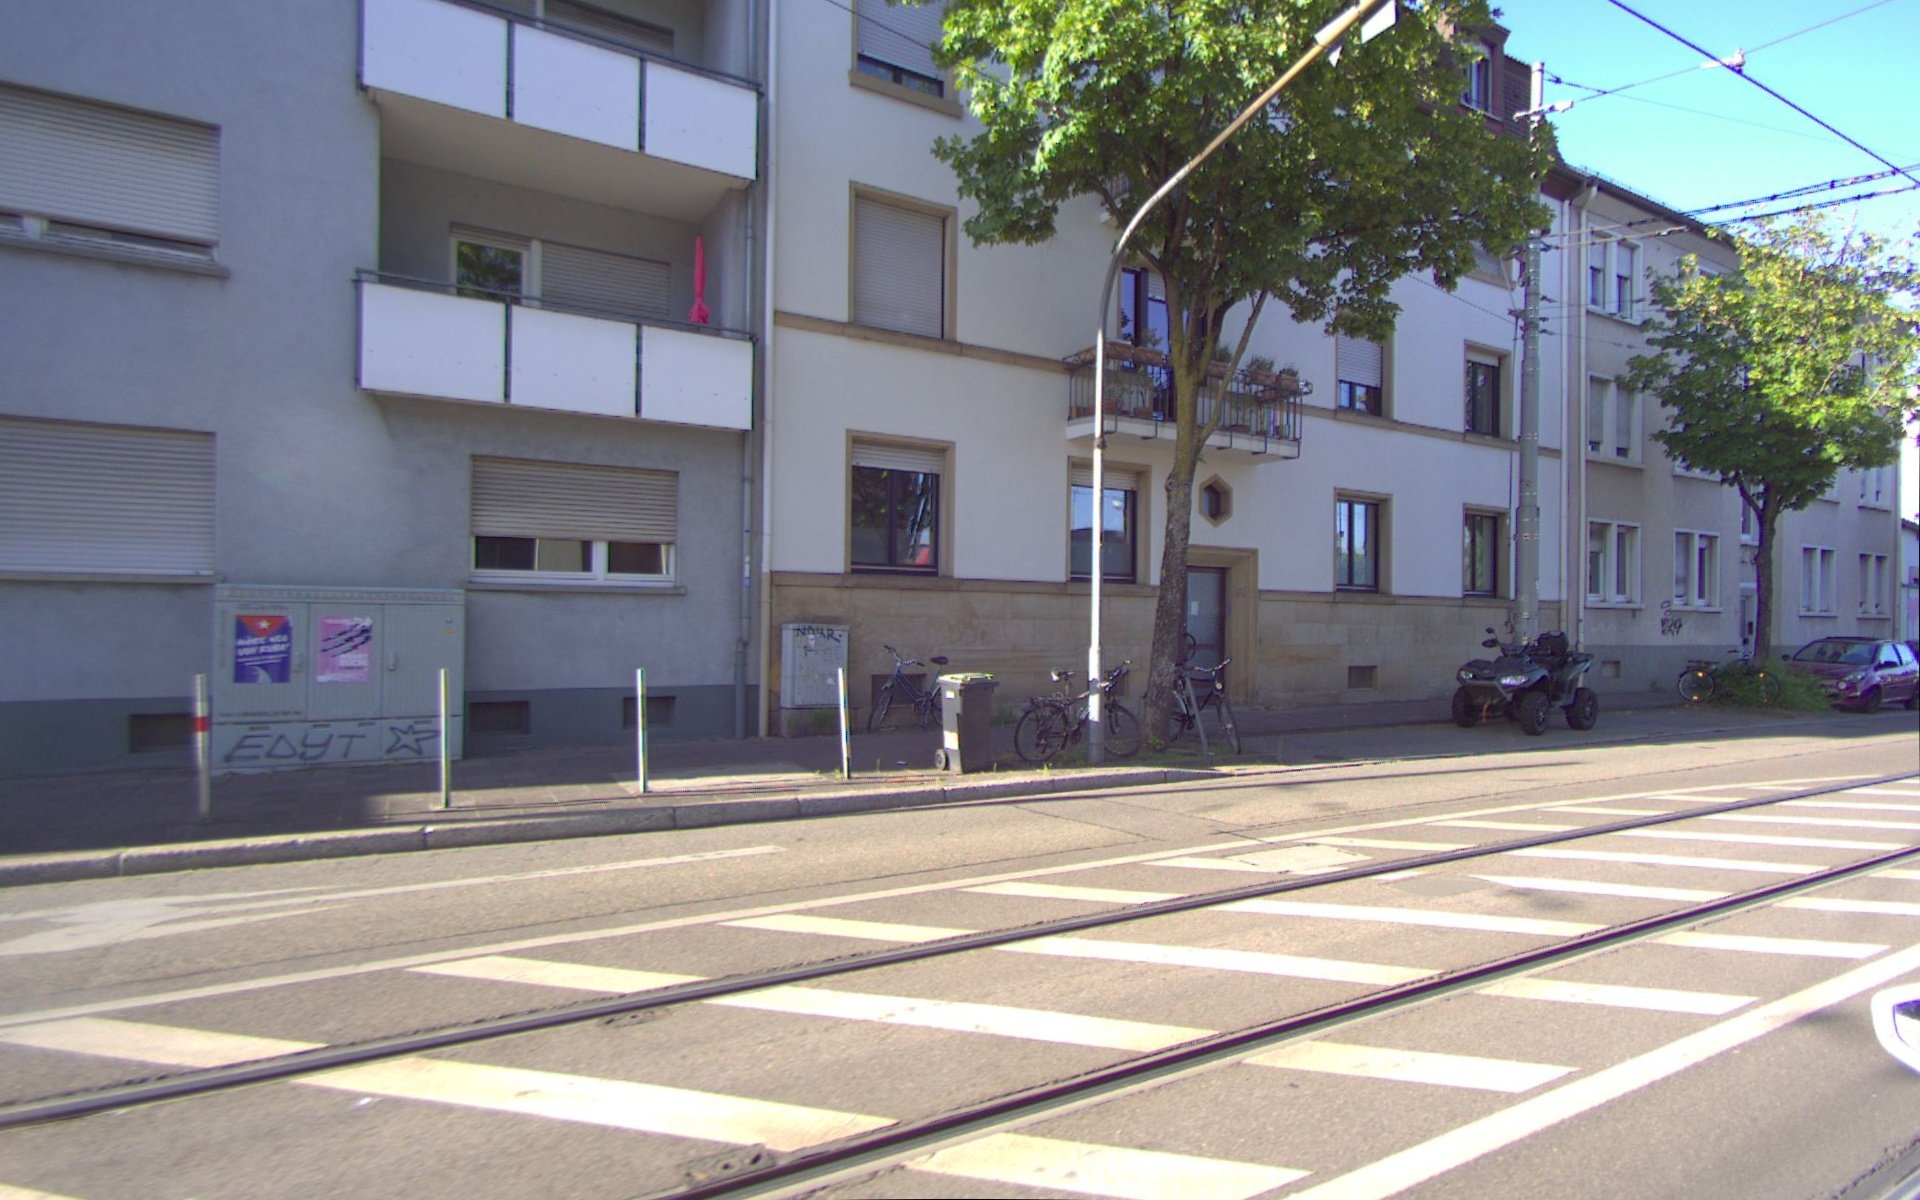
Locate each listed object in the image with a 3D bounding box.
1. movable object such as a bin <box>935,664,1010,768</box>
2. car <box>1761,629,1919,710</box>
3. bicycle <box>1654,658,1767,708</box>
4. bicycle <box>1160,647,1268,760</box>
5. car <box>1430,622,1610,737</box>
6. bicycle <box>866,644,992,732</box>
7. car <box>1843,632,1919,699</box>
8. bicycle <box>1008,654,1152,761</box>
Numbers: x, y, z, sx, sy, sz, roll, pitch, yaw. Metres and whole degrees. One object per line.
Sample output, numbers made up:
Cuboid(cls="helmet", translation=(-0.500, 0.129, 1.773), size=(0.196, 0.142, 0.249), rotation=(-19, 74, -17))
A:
Cuboid(cls="movable object such as a bin", translation=(0.118, 1.115, 9.781), size=(0.576, 0.948, 0.422), rotation=(2, 0, -30))
Cuboid(cls="car", translation=(18.739, 1.424, 21.170), size=(3.953, 1.525, 1.564), rotation=(2, 0, -30))
Cuboid(cls="bicycle", translation=(14.562, 1.595, 19.544), size=(0.273, 0.813, 1.777), rotation=(2, 0, -32))
Cuboid(cls="bicycle", translation=(2.971, 1.183, 11.835), size=(0.404, 1.185, 1.335), rotation=(2, 0, -29))
Cuboid(cls="car", translation=(8.664, 1.161, 15.538), size=(2.517, 1.523, 1.349), rotation=(-1, 1, -30))
Cuboid(cls="bicycle", translation=(-0.380, 1.097, 12.792), size=(1.642, 1.056, 0.301), rotation=(2, 0, -31))
Cuboid(cls="car", translation=(23.191, 1.556, 24.018), size=(4.243, 1.448, 1.864), rotation=(2, 0, -30))
Cuboid(cls="bicycle", translation=(1.288, 1.109, 10.609), size=(1.642, 1.056, 0.301), rotation=(2, 0, -31))
